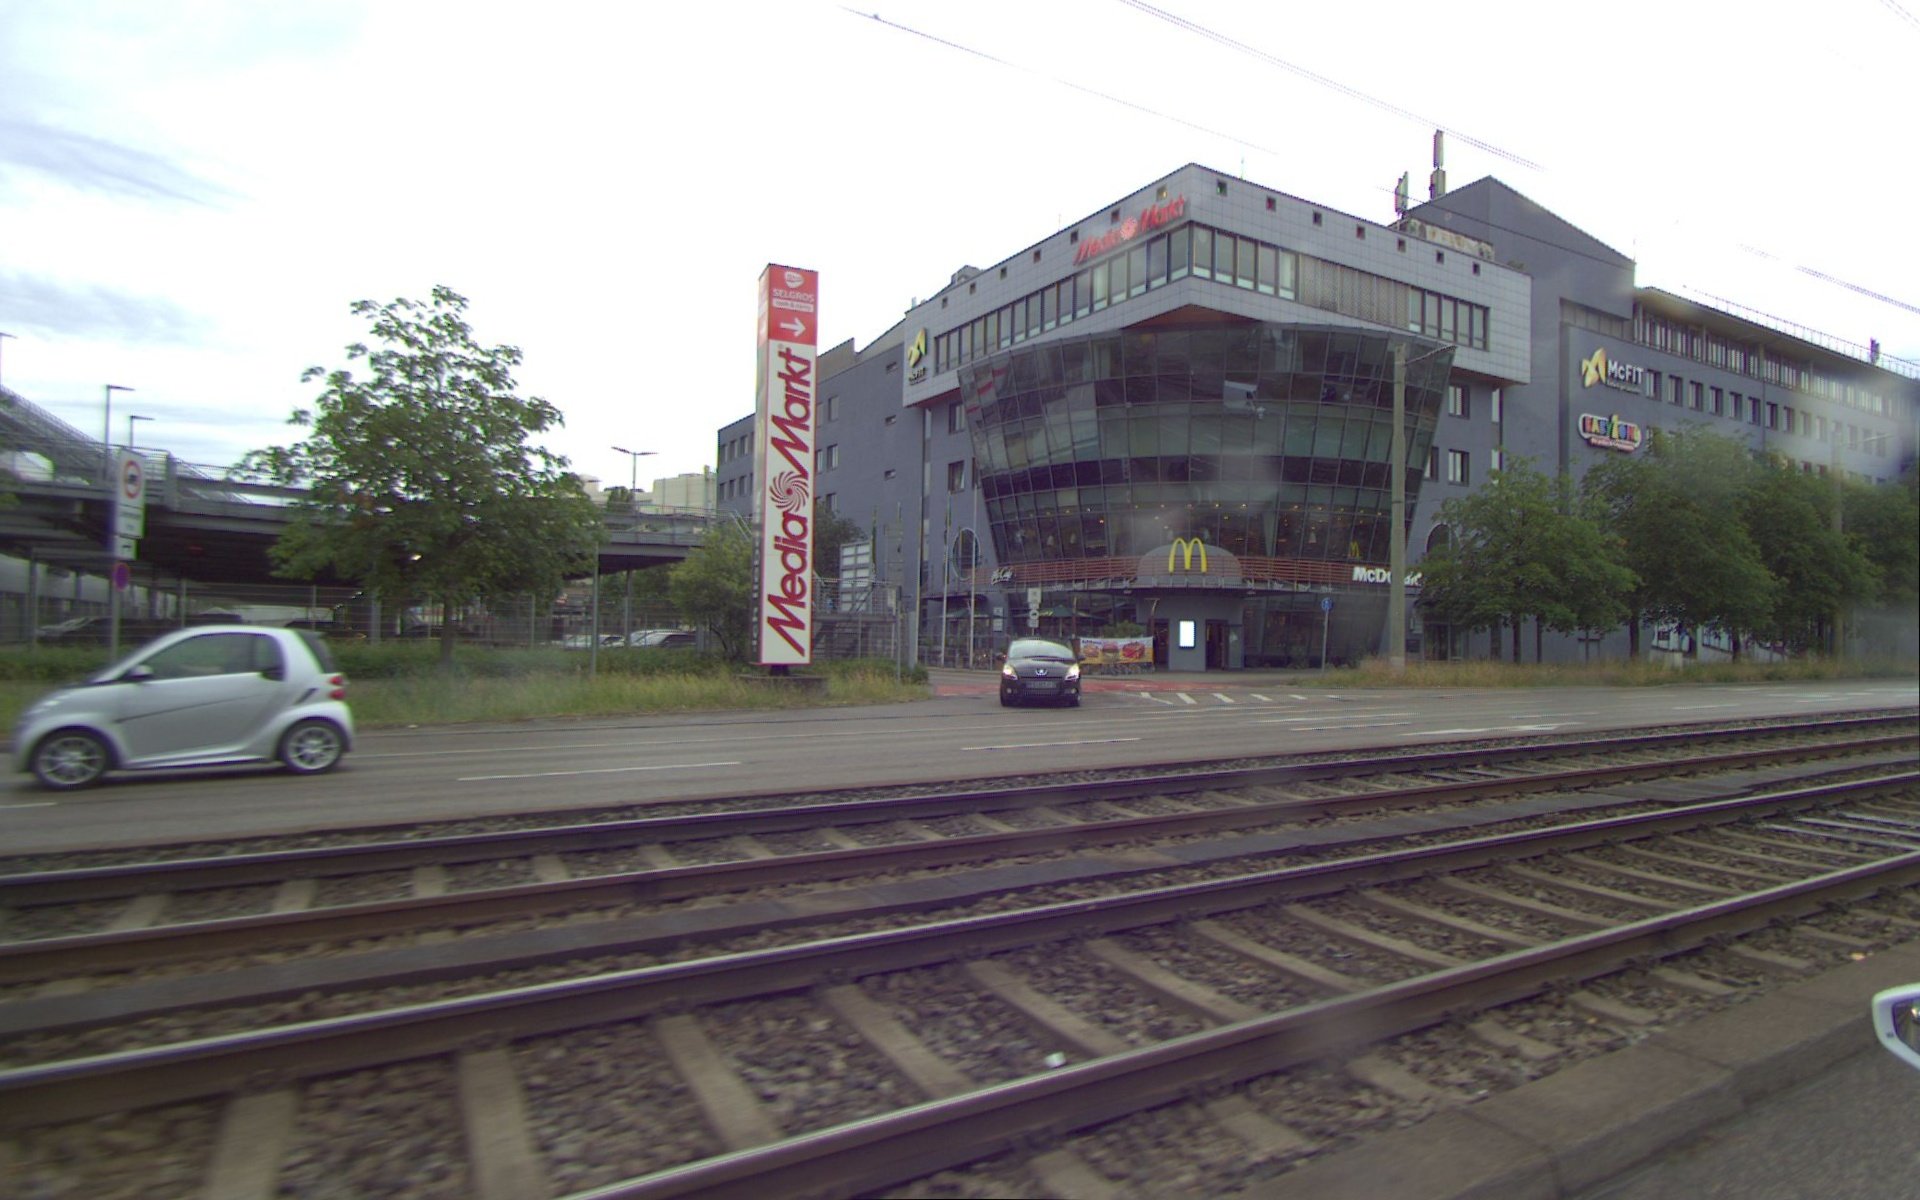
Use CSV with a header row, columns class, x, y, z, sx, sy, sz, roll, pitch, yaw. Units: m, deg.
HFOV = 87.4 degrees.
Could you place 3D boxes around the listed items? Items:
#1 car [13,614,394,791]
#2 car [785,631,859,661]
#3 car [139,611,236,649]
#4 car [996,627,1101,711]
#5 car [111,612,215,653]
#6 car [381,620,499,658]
class,x,y,z,sx,sy,sz,roll,pitch,yaw
car,-7.675,0.995,10.413,2.925,1.557,1.586,2,-4,-39
car,-7.992,2.663,58.331,3.969,1.591,1.745,1,1,-41
car,-42.273,1.667,55.095,3.953,2.040,1.984,1,-2,-31
car,2.164,1.551,23.456,1.959,1.758,4.216,0,-3,12
car,-41.569,1.711,52.490,3.953,2.040,1.984,1,-2,-31
car,-21.035,1.574,40.698,4.025,1.300,1.664,2,1,10
